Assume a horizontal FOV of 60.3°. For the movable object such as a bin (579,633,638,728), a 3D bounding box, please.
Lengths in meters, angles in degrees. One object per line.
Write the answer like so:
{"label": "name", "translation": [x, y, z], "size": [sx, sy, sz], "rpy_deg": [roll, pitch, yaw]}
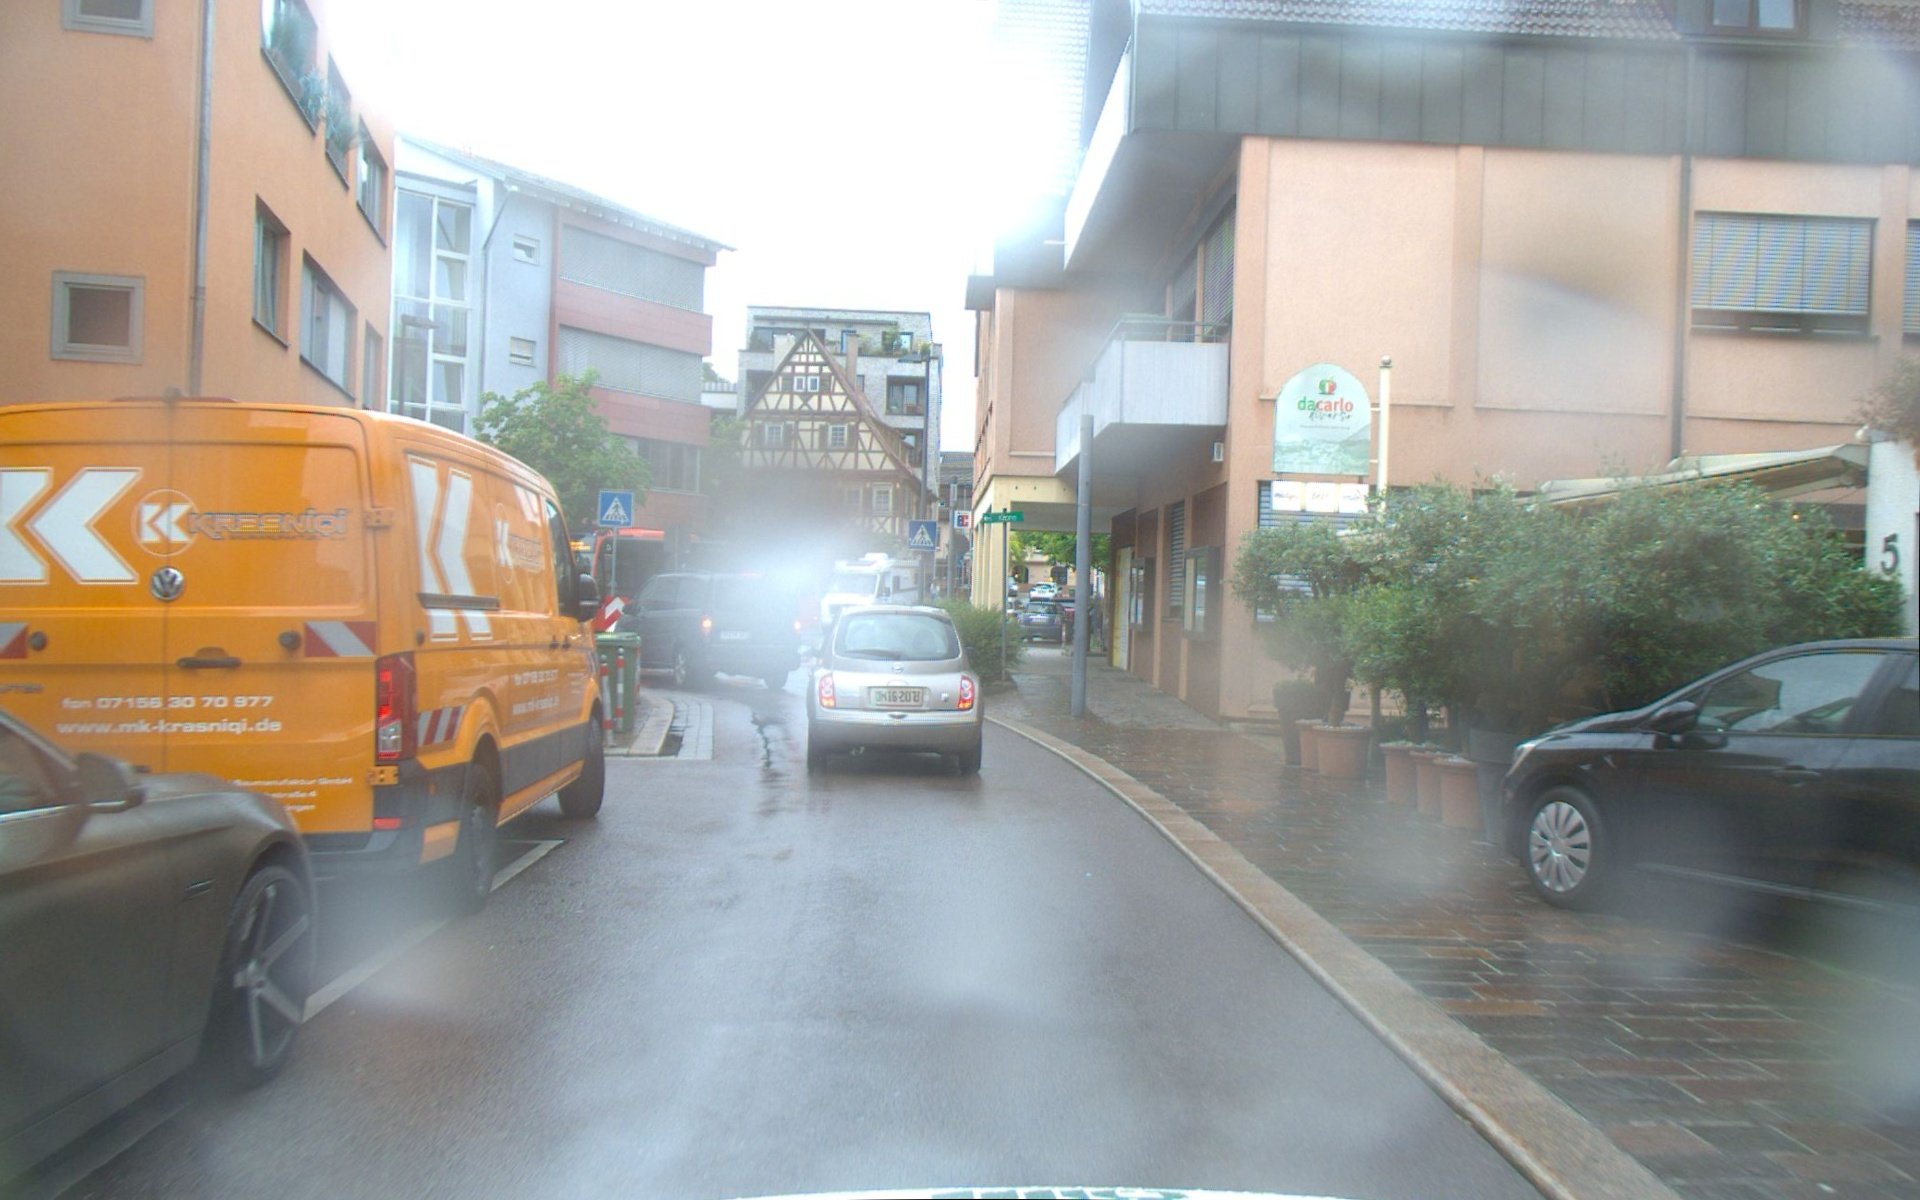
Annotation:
{"label": "movable object such as a bin", "translation": [-4.060, 0.923, 19.130], "size": [0.645, 1.055, 0.608], "rpy_deg": [1, 0, -12]}

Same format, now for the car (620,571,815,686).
{"label": "car", "translation": [-4.317, 0.462, 28.795], "size": [1.924, 1.812, 4.685], "rpy_deg": [2, -1, -27]}

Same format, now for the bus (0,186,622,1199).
{"label": "bus", "translation": [-4.325, 0.292, 10.260], "size": [2.757, 3.142, 10.601], "rpy_deg": [1, 0, -3]}

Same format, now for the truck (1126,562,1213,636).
{"label": "truck", "translation": [5.481, -0.024, 43.648], "size": [1.727, 1.840, 3.999], "rpy_deg": [1, 0, -1]}

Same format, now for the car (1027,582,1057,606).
{"label": "car", "translation": [5.491, -0.401, 110.869], "size": [1.857, 1.534, 3.910], "rpy_deg": [1, 0, 1]}

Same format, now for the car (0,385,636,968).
{"label": "car", "translation": [-3.281, 0.310, 9.456], "size": [1.954, 2.279, 5.857], "rpy_deg": [1, 0, -3]}

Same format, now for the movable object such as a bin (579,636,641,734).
{"label": "movable object such as a bin", "translation": [-3.890, 0.937, 18.375], "size": [0.645, 1.055, 0.608], "rpy_deg": [1, 0, -12]}

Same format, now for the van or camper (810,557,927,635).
{"label": "van or camper", "translation": [-3.264, -0.113, 60.876], "size": [2.386, 2.631, 6.756], "rpy_deg": [2, 0, 13]}

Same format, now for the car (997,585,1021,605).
{"label": "car", "translation": [3.834, -0.393, 129.766], "size": [1.857, 1.534, 3.910], "rpy_deg": [1, 0, 1]}

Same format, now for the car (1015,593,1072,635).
{"label": "car", "translation": [2.975, 0.466, 58.306], "size": [1.504, 1.385, 3.376], "rpy_deg": [2, 0, 11]}

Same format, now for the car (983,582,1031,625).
{"label": "car", "translation": [1.855, 0.142, 65.920], "size": [1.857, 1.601, 4.000], "rpy_deg": [1, 0, 1]}

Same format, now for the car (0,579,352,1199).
{"label": "car", "translation": [-2.875, 0.673, 3.184], "size": [1.720, 1.380, 4.482], "rpy_deg": [2, 1, 0]}

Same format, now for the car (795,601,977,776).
{"label": "car", "translation": [-0.813, 0.788, 16.255], "size": [1.493, 1.496, 3.336], "rpy_deg": [1, 0, -7]}

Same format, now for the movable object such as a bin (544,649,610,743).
{"label": "movable object such as a bin", "translation": [-4.015, 1.000, 17.356], "size": [0.570, 0.943, 0.481], "rpy_deg": [2, 0, -3]}

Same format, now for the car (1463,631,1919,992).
{"label": "car", "translation": [4.328, 0.882, 7.573], "size": [1.711, 1.381, 3.905], "rpy_deg": [1, 0, -25]}

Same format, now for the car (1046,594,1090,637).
{"label": "car", "translation": [4.157, 0.575, 63.135], "size": [1.590, 1.527, 4.002], "rpy_deg": [-1, 0, 4]}
